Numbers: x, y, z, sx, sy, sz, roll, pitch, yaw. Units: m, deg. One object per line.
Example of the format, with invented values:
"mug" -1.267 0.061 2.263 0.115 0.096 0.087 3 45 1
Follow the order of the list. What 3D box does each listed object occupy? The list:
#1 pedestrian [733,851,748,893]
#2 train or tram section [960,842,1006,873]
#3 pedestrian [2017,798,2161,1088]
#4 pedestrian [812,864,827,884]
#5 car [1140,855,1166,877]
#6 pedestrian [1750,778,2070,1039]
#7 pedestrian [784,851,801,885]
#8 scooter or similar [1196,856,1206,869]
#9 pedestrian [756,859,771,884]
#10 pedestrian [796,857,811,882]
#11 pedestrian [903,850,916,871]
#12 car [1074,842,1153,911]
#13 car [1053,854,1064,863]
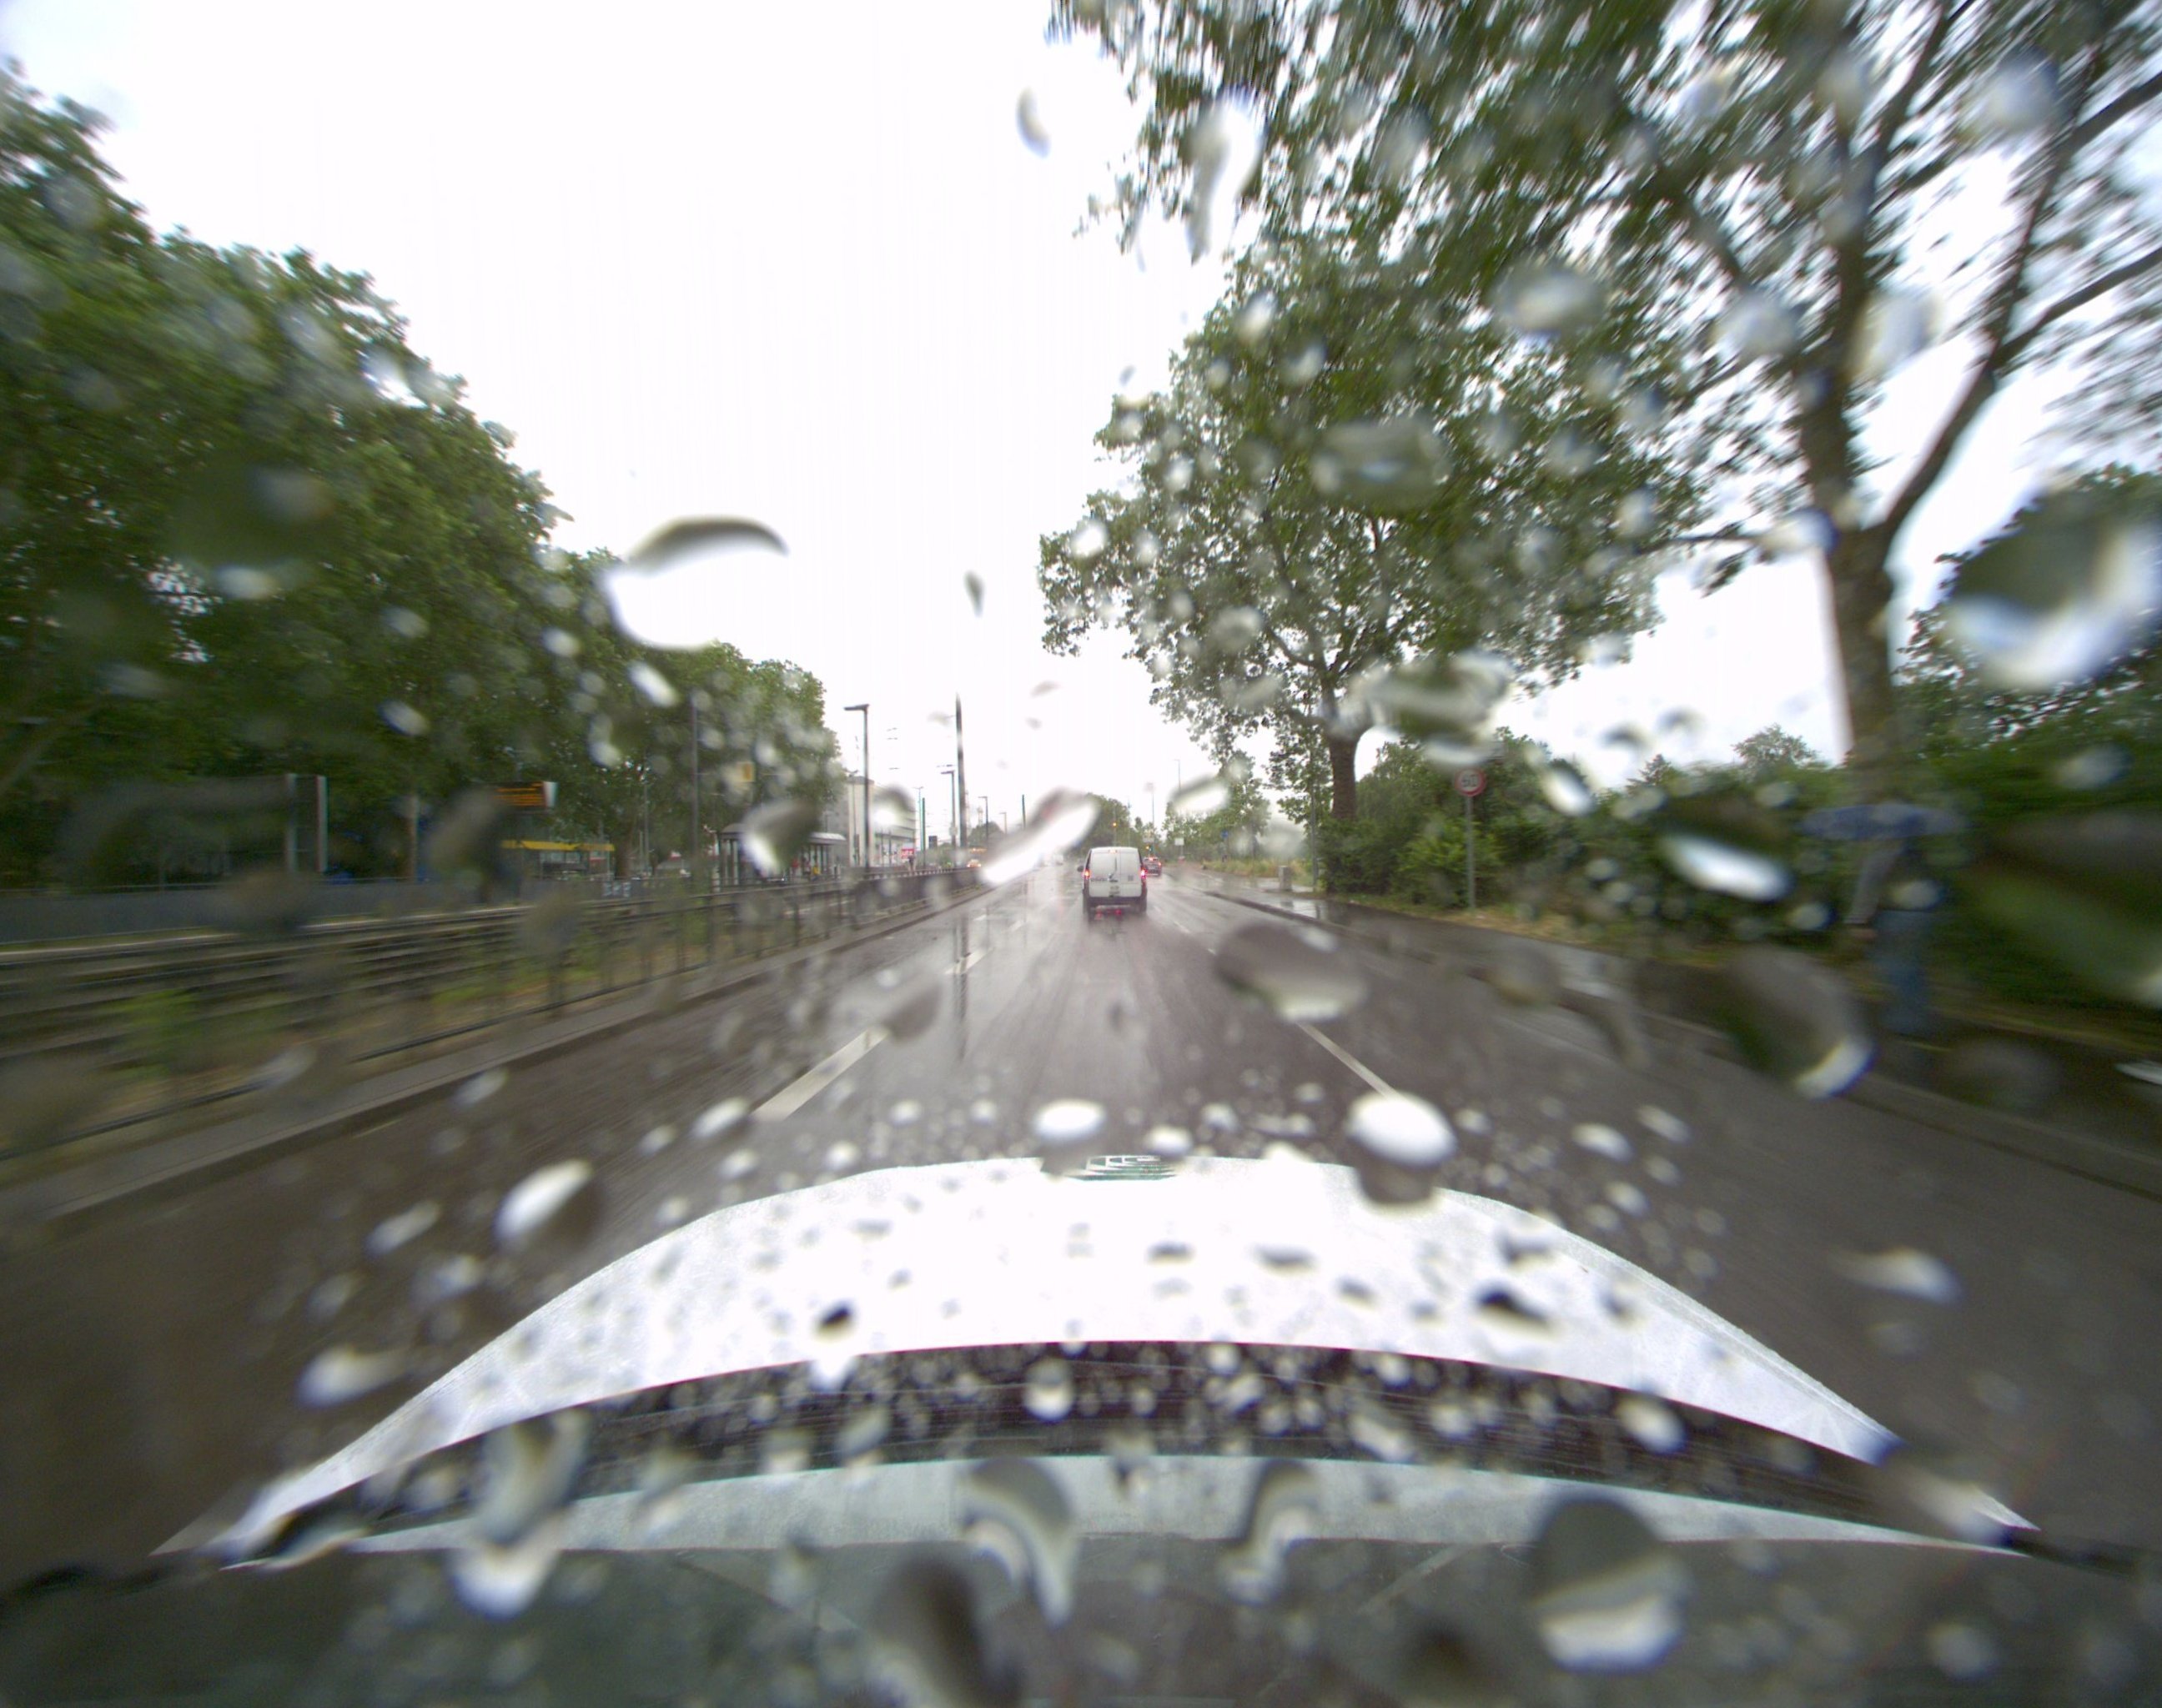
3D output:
"pedestrian" -16.810 0.882 40.186 0.491 2.014 0.583 0 -1 1
"train or tram section" -13.984 0.568 119.229 3.759 4.036 27.080 0 0 -1
"pedestrian" 6.376 0.472 4.464 0.943 1.589 1.294 -2 -1 1
"pedestrian" -16.782 1.277 52.325 0.640 1.303 0.815 0 -1 5
"car" 5.752 0.940 65.201 1.985 1.750 4.003 0 0 3
"pedestrian" 6.296 0.389 6.298 1.235 1.786 1.147 -2 -1 1
"pedestrian" -16.525 0.824 46.656 0.618 1.933 0.815 0 -1 5
"scooter or similar" 10.765 0.751 73.116 0.641 1.195 1.562 -2 0 -1
"pedestrian" -16.575 0.914 42.507 0.491 1.268 0.665 0 -1 5
"pedestrian" -16.969 0.942 49.759 0.829 1.561 0.667 0 -1 -25
"pedestrian" -16.899 0.633 80.152 1.085 2.014 1.095 0 -1 -2
"car" 0.832 0.605 23.364 2.019 1.775 4.271 0 0 -1
"car" -4.369 0.850 159.771 1.990 1.750 3.993 0 0 -5
